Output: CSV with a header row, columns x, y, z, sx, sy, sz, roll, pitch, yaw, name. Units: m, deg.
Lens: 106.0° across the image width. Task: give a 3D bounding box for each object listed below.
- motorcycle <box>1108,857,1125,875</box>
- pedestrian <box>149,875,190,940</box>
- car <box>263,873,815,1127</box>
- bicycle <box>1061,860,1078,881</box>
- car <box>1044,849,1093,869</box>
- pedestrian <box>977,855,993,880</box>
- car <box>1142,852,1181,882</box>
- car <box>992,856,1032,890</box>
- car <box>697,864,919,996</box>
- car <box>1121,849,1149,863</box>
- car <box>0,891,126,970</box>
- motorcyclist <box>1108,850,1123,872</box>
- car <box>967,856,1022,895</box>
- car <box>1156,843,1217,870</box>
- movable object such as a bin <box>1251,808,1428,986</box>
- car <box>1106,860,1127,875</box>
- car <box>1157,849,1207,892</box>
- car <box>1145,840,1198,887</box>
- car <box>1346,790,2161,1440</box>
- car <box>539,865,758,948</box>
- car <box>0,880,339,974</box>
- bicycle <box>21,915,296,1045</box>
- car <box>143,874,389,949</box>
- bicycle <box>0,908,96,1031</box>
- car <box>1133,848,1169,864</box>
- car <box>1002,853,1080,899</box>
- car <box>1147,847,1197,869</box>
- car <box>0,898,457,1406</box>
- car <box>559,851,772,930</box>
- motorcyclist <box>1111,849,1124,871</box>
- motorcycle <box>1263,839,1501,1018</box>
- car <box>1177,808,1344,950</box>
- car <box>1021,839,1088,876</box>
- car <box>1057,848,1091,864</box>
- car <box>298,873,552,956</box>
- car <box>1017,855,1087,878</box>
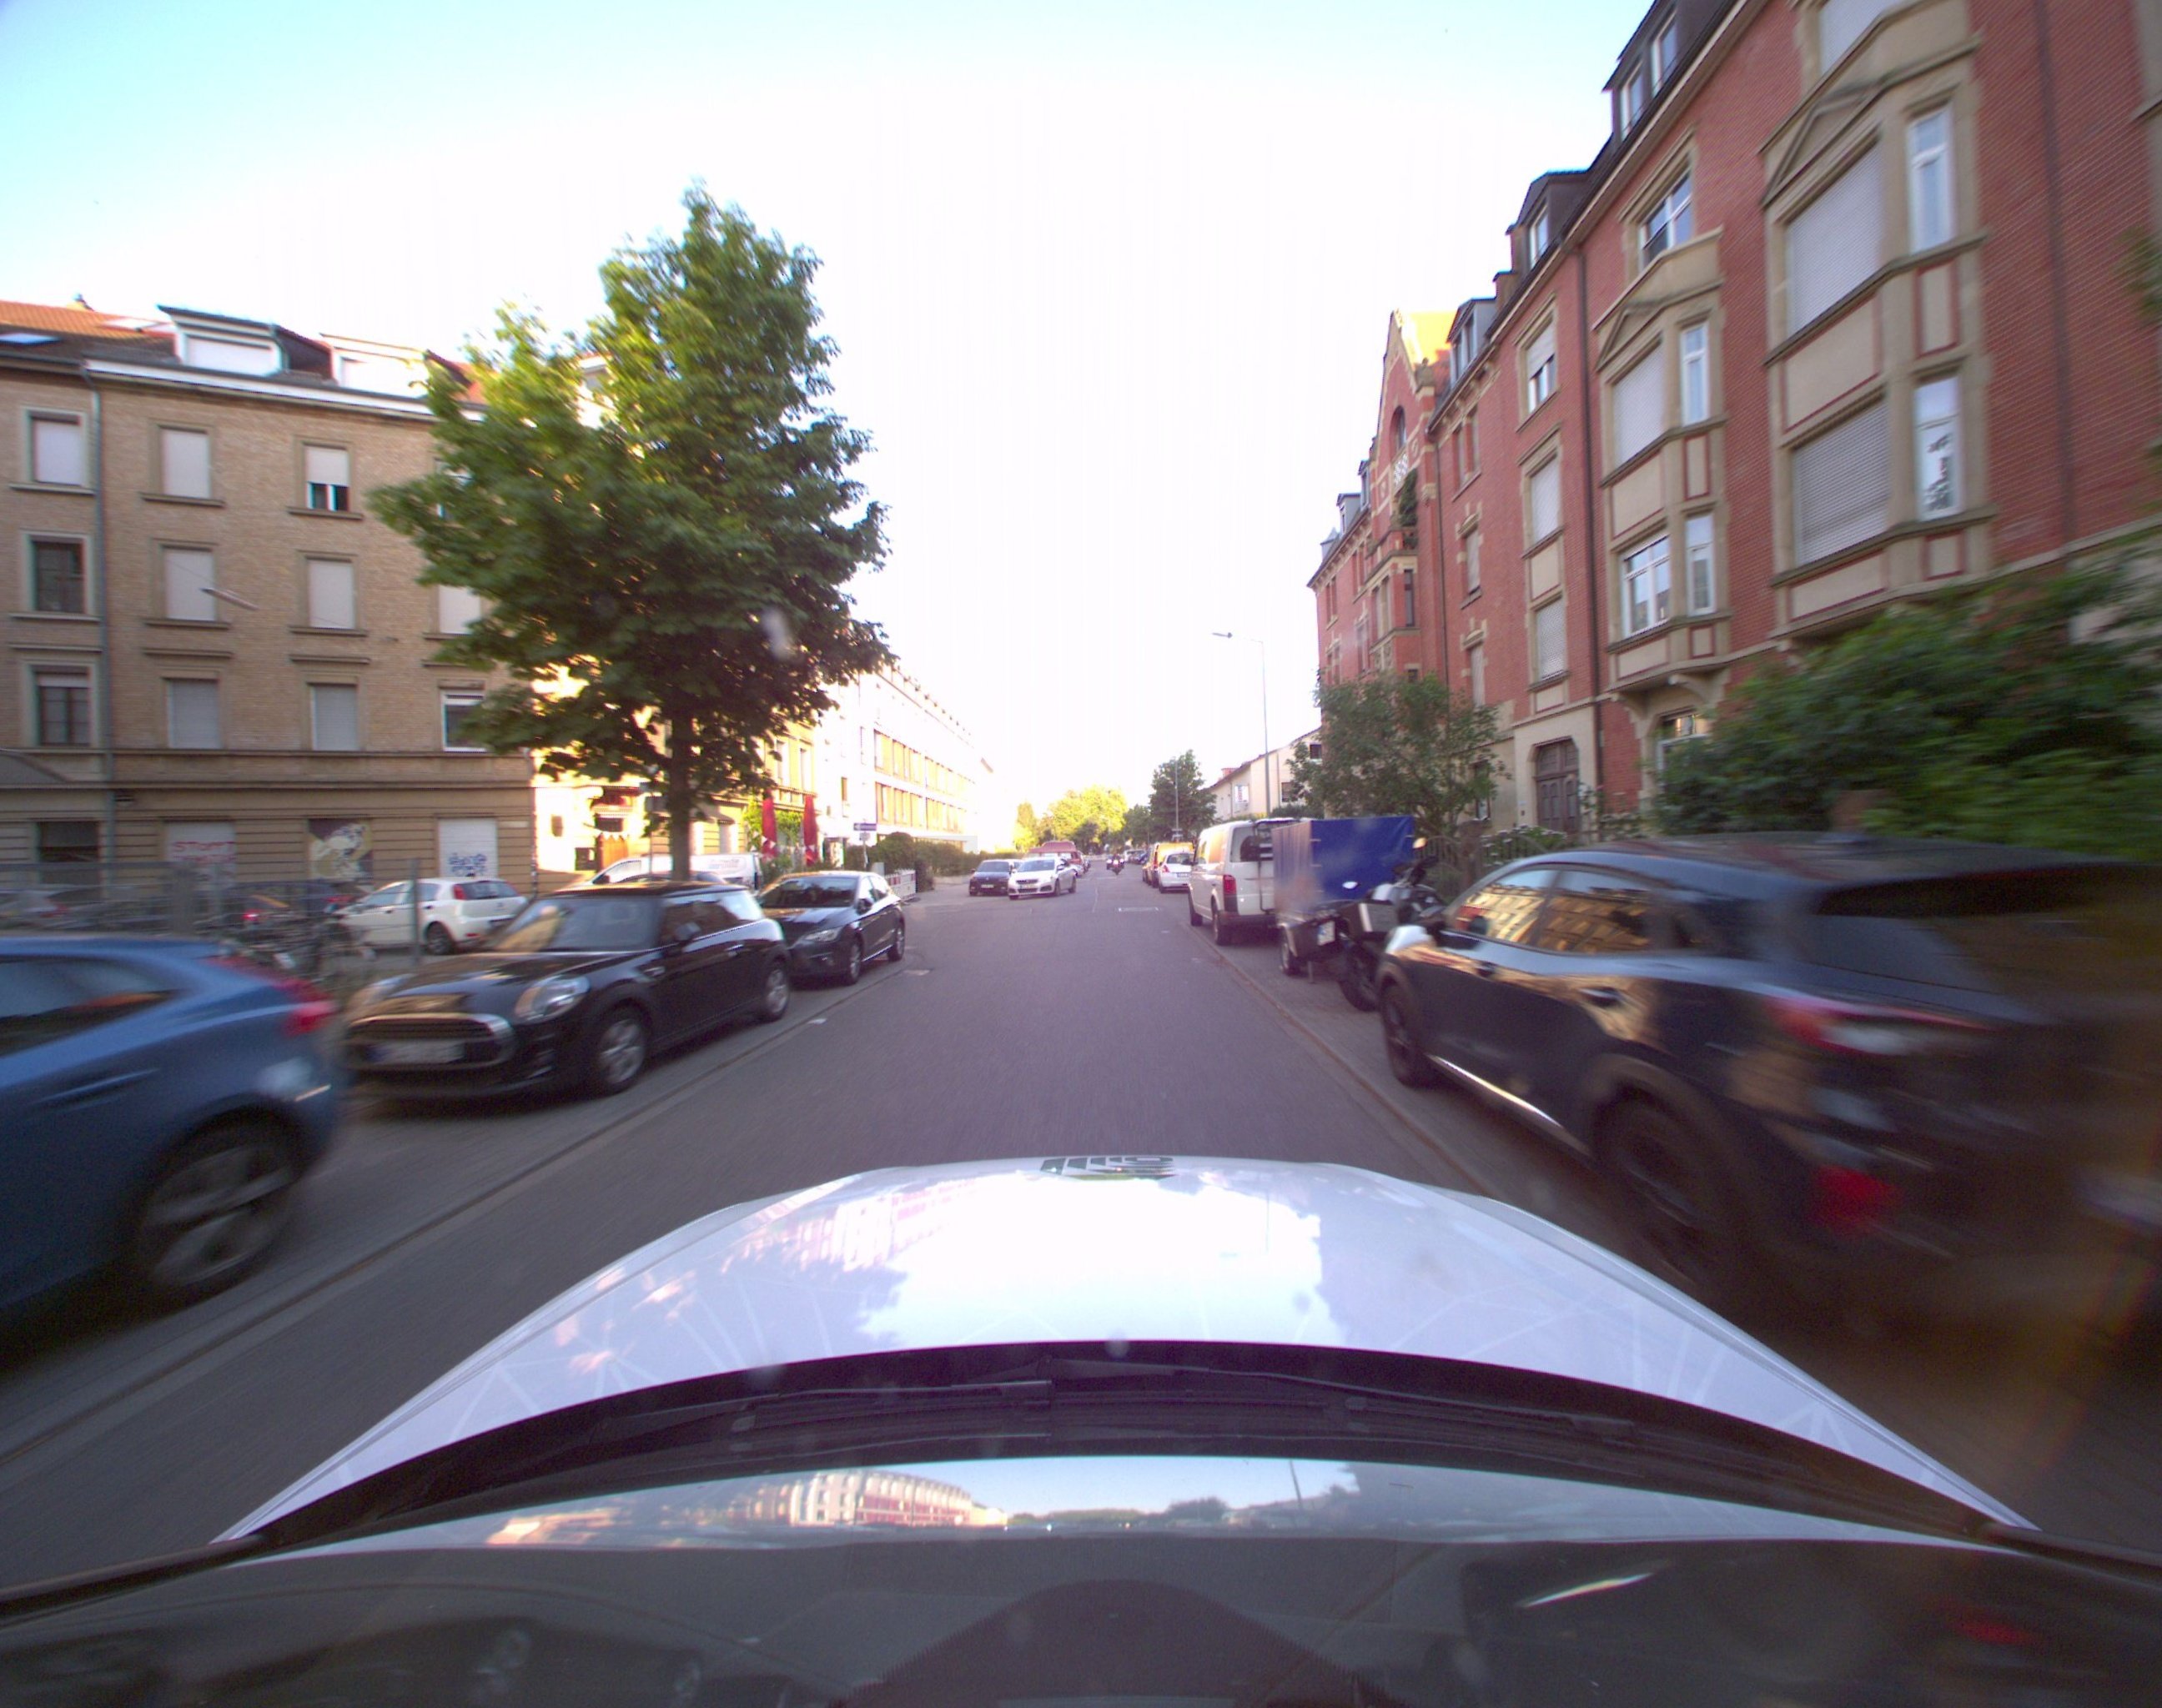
x,y,z,sx,sy,sz,roll,pitch,yaw,name
2.597,0.852,59.449,0.841,1.209,2.081,-4,-1,12,motorcycle
-24.360,1.415,21.765,0.498,1.687,0.590,0,0,-20,pedestrian
-3.973,0.940,6.997,1.734,1.420,4.147,-1,0,4,car
-0.702,0.962,49.213,0.804,1.221,2.868,0,0,4,bicycle
-1.266,0.498,82.118,4.832,2.021,1.907,0,0,2,car
-5.701,0.788,48.569,0.829,1.501,0.798,0,0,2,pedestrian
4.040,0.634,41.281,1.715,1.424,4.255,0,0,2,car
-3.301,0.898,39.688,1.646,1.530,4.016,-1,0,-1,car
-3.651,0.922,11.789,1.669,1.461,4.463,-1,0,0,car
8.195,0.260,123.625,3.959,1.911,2.047,-4,0,-3,car
-25.148,1.791,18.604,3.999,1.622,1.574,-2,1,-19,car
2.507,0.480,59.130,0.883,1.505,0.972,-4,-1,11,motorcyclist
-3.576,0.852,34.229,1.697,1.534,3.846,-1,0,2,car
9.065,0.252,70.367,4.970,1.983,2.221,-4,0,2,car
3.103,0.478,10.172,1.407,1.878,2.325,-3,0,1,movable object such as a bin
3.798,1.420,86.510,1.769,1.517,4.011,-3,0,9,car
3.704,0.574,30.346,1.667,1.477,3.866,-1,0,4,car
3.915,0.373,35.842,1.886,1.884,5.084,-1,0,2,car
2.767,0.621,4.103,1.712,1.551,4.330,-1,0,4,car
-8.828,1.038,16.862,3.494,1.507,1.845,-1,1,1,car
-17.701,1.356,15.998,4.073,1.439,1.988,-2,1,-15,car
-9.280,1.210,8.339,0.685,1.025,1.929,0,0,-4,bicycle
-20.648,1.395,20.882,3.923,1.571,2.008,-2,1,-23,car
-10.858,1.154,8.404,0.503,1.092,1.532,0,0,-36,bicycle
9.233,0.270,107.985,4.469,1.911,1.686,-4,0,-3,car
-1.399,0.776,30.726,1.803,1.523,4.612,-3,0,11,car
9.536,0.407,85.531,4.928,1.958,2.049,-4,0,0,car
-4.147,0.943,1.841,1.855,1.412,4.591,-1,0,1,car
-11.952,0.980,23.945,5.298,1.975,2.193,-2,0,-22,car
2.691,0.454,59.874,0.782,1.540,0.547,-4,-1,11,motorcyclist
3.031,0.662,8.170,2.103,1.482,1.122,-3,0,-32,motorcycle
3.044,0.383,15.120,1.855,2.039,5.545,-3,0,1,car
-1.833,0.242,57.131,4.492,2.584,2.002,0,0,3,car
-0.892,0.307,110.639,4.516,2.134,2.001,0,0,2,car
-13.332,1.163,16.652,4.030,1.508,1.981,0,0,14,car
-1.949,0.805,54.552,4.603,1.460,1.880,0,0,-2,car
